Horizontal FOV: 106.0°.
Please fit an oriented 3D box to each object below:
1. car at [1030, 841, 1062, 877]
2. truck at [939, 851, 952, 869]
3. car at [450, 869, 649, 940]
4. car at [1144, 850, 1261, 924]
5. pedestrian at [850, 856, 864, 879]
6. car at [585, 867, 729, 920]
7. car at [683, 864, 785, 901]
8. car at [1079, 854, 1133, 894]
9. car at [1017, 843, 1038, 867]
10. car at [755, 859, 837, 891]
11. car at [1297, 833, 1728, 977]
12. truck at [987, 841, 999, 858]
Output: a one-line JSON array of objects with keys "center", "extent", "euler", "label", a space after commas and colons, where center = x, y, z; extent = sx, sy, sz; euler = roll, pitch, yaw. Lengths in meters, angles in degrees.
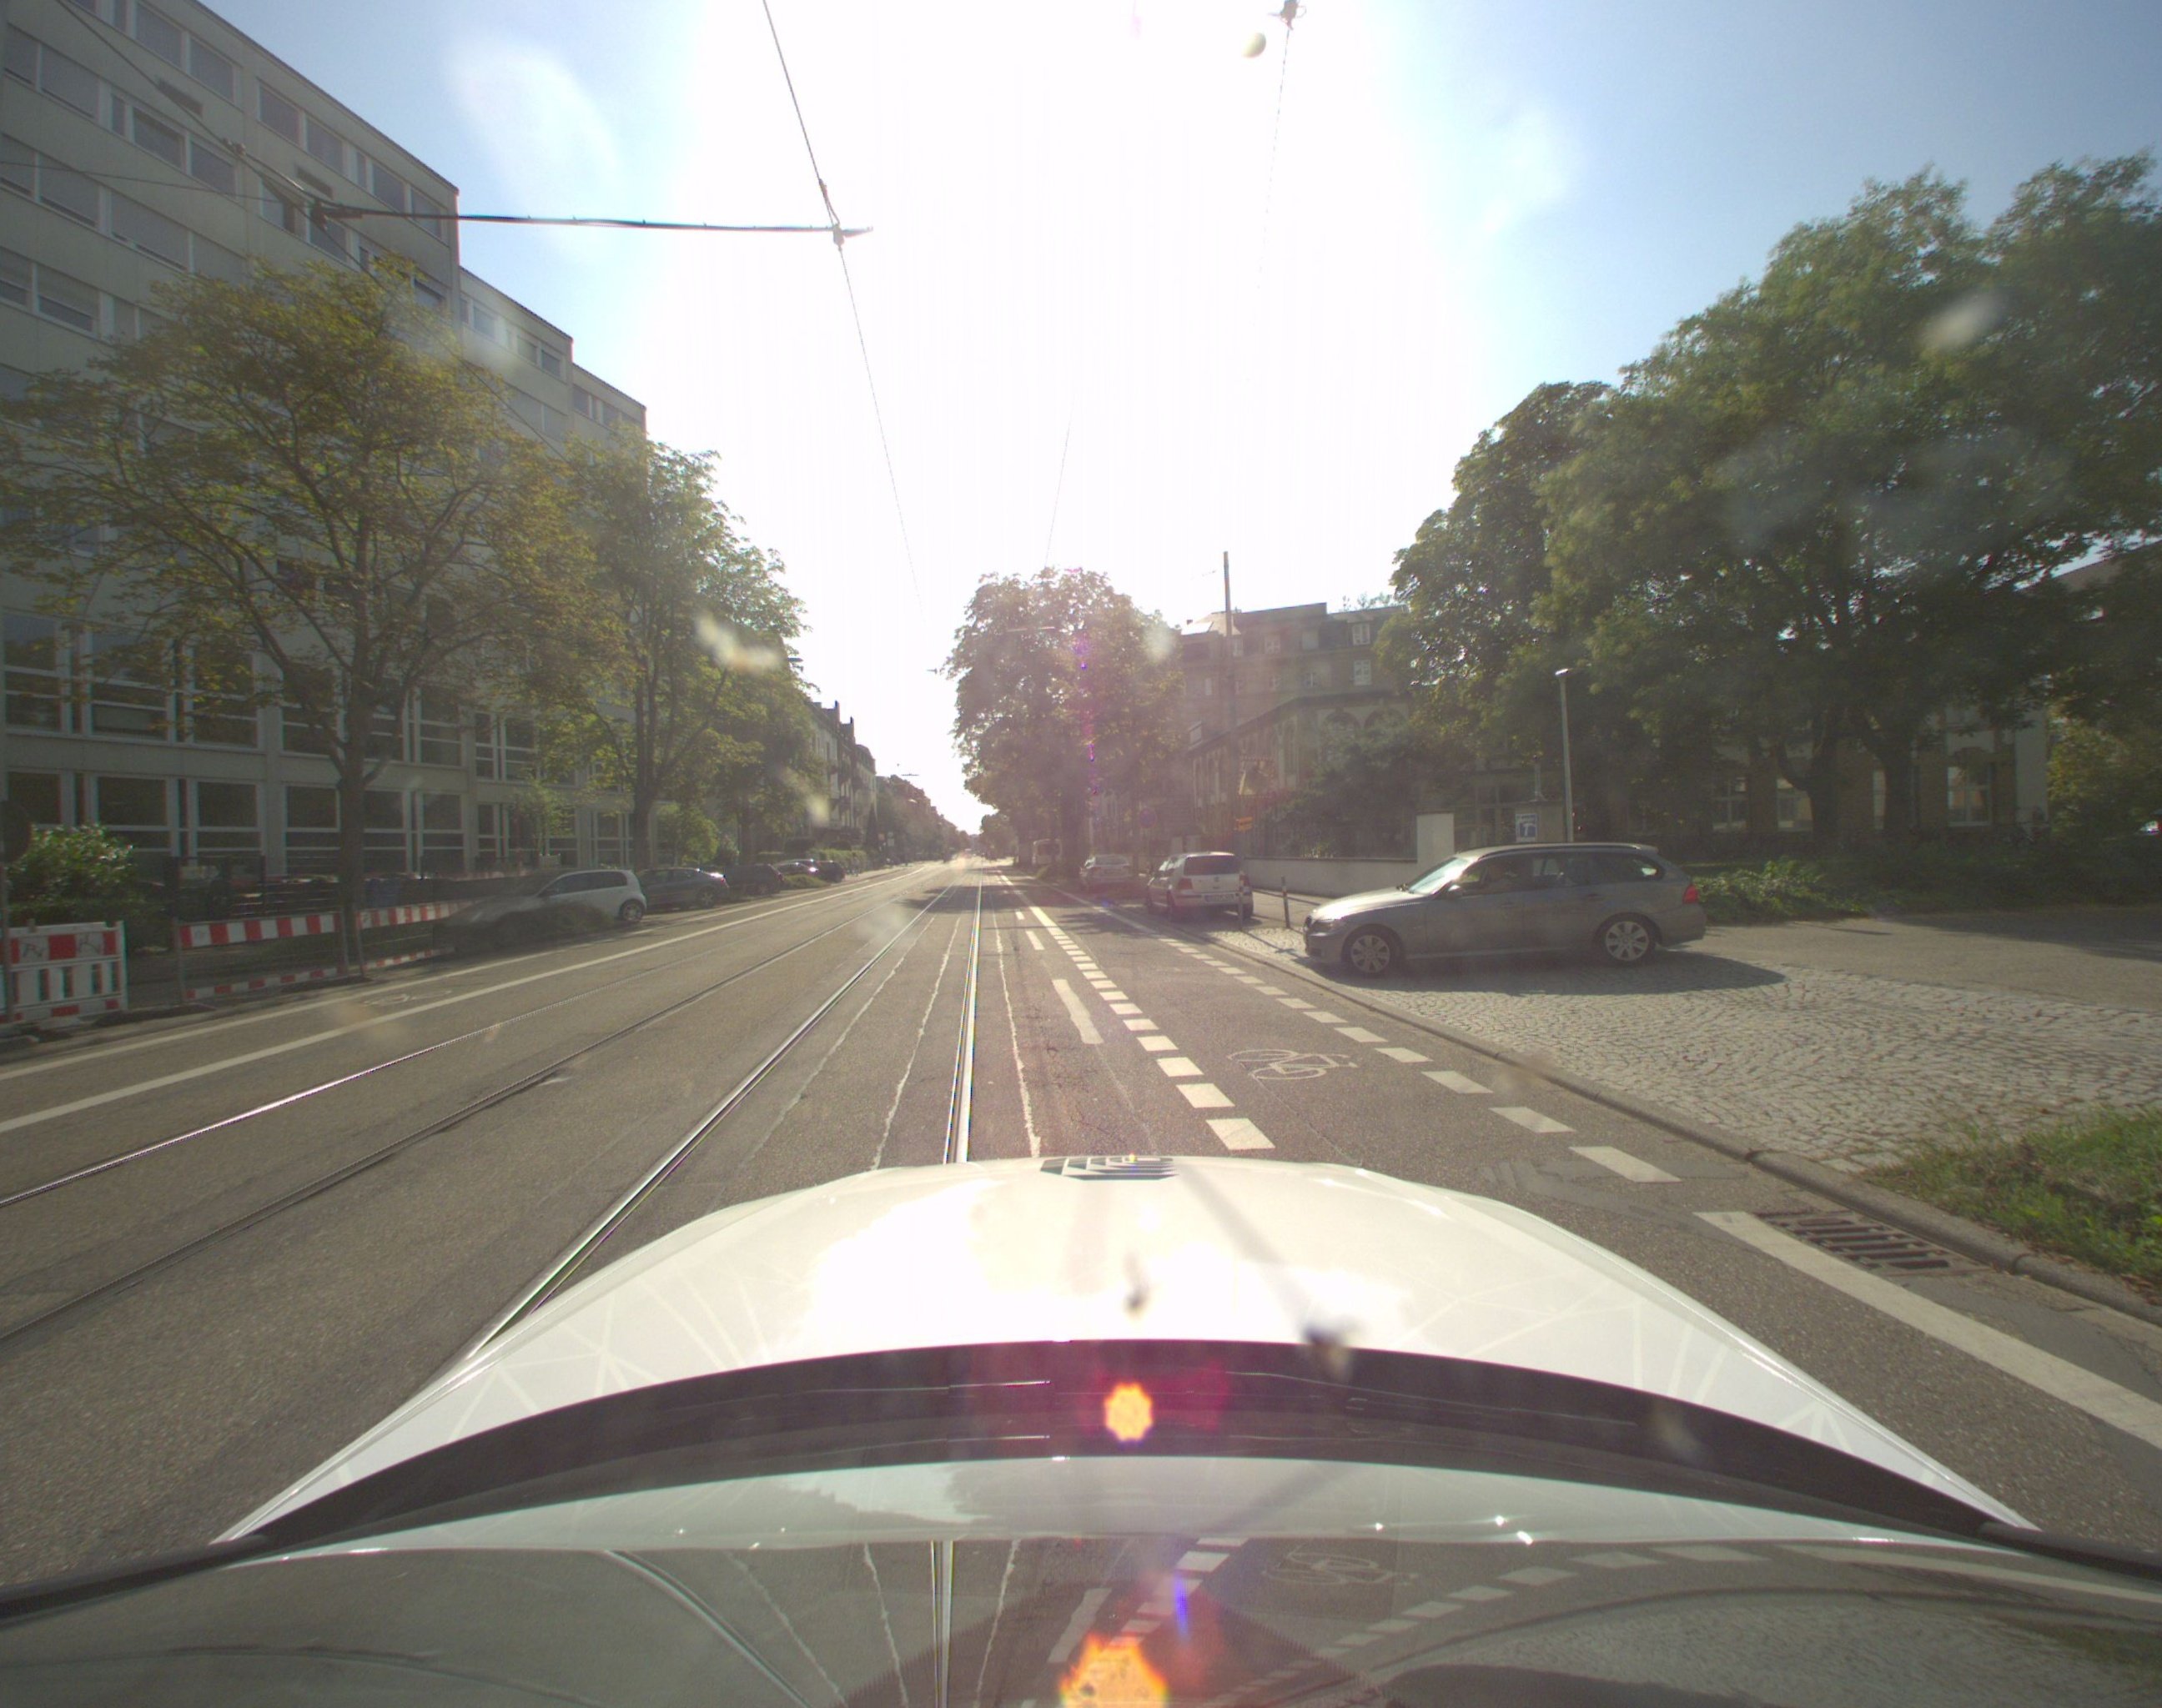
[{"center": [-2.600, 0.364, 59.393], "extent": [2.002, 2.490, 4.467], "euler": [-2, 0, -6], "label": "car"}, {"center": [-24.242, 1.040, 145.764], "extent": [1.992, 2.975, 4.559], "euler": [-2, 0, -7], "label": "truck"}, {"center": [-12.947, 1.175, 20.055], "extent": [1.550, 1.443, 3.787], "euler": [-2, 0, 33], "label": "car"}, {"center": [2.555, 0.655, 18.011], "extent": [1.687, 1.418, 3.626], "euler": [-2, 0, -6], "label": "car"}, {"center": [-17.604, 1.037, 64.015], "extent": [0.961, 1.760, 0.659], "euler": [-2, 0, -8], "label": "pedestrian"}, {"center": [-13.634, 1.219, 26.356], "extent": [1.550, 1.443, 3.787], "euler": [-2, 0, 37], "label": "car"}, {"center": [-15.043, 1.201, 35.484], "extent": [1.550, 1.406, 3.787], "euler": [-2, 0, 37], "label": "car"}, {"center": [0.895, 0.739, 31.532], "extent": [1.593, 1.418, 3.626], "euler": [-2, 0, -6], "label": "car"}, {"center": [-5.646, 0.109, 85.983], "extent": [2.002, 2.475, 4.467], "euler": [-2, 0, -6], "label": "car"}, {"center": [-16.059, 1.140, 45.935], "extent": [4.016, 1.640, 1.673], "euler": [-2, 0, -34], "label": "car"}, {"center": [5.072, 0.611, 10.226], "extent": [4.392, 1.409, 1.812], "euler": [-4, 0, 11], "label": "car"}, {"center": [-15.870, -0.806, 146.697], "extent": [1.860, 3.130, 4.339], "euler": [-2, 0, -9], "label": "truck"}]
